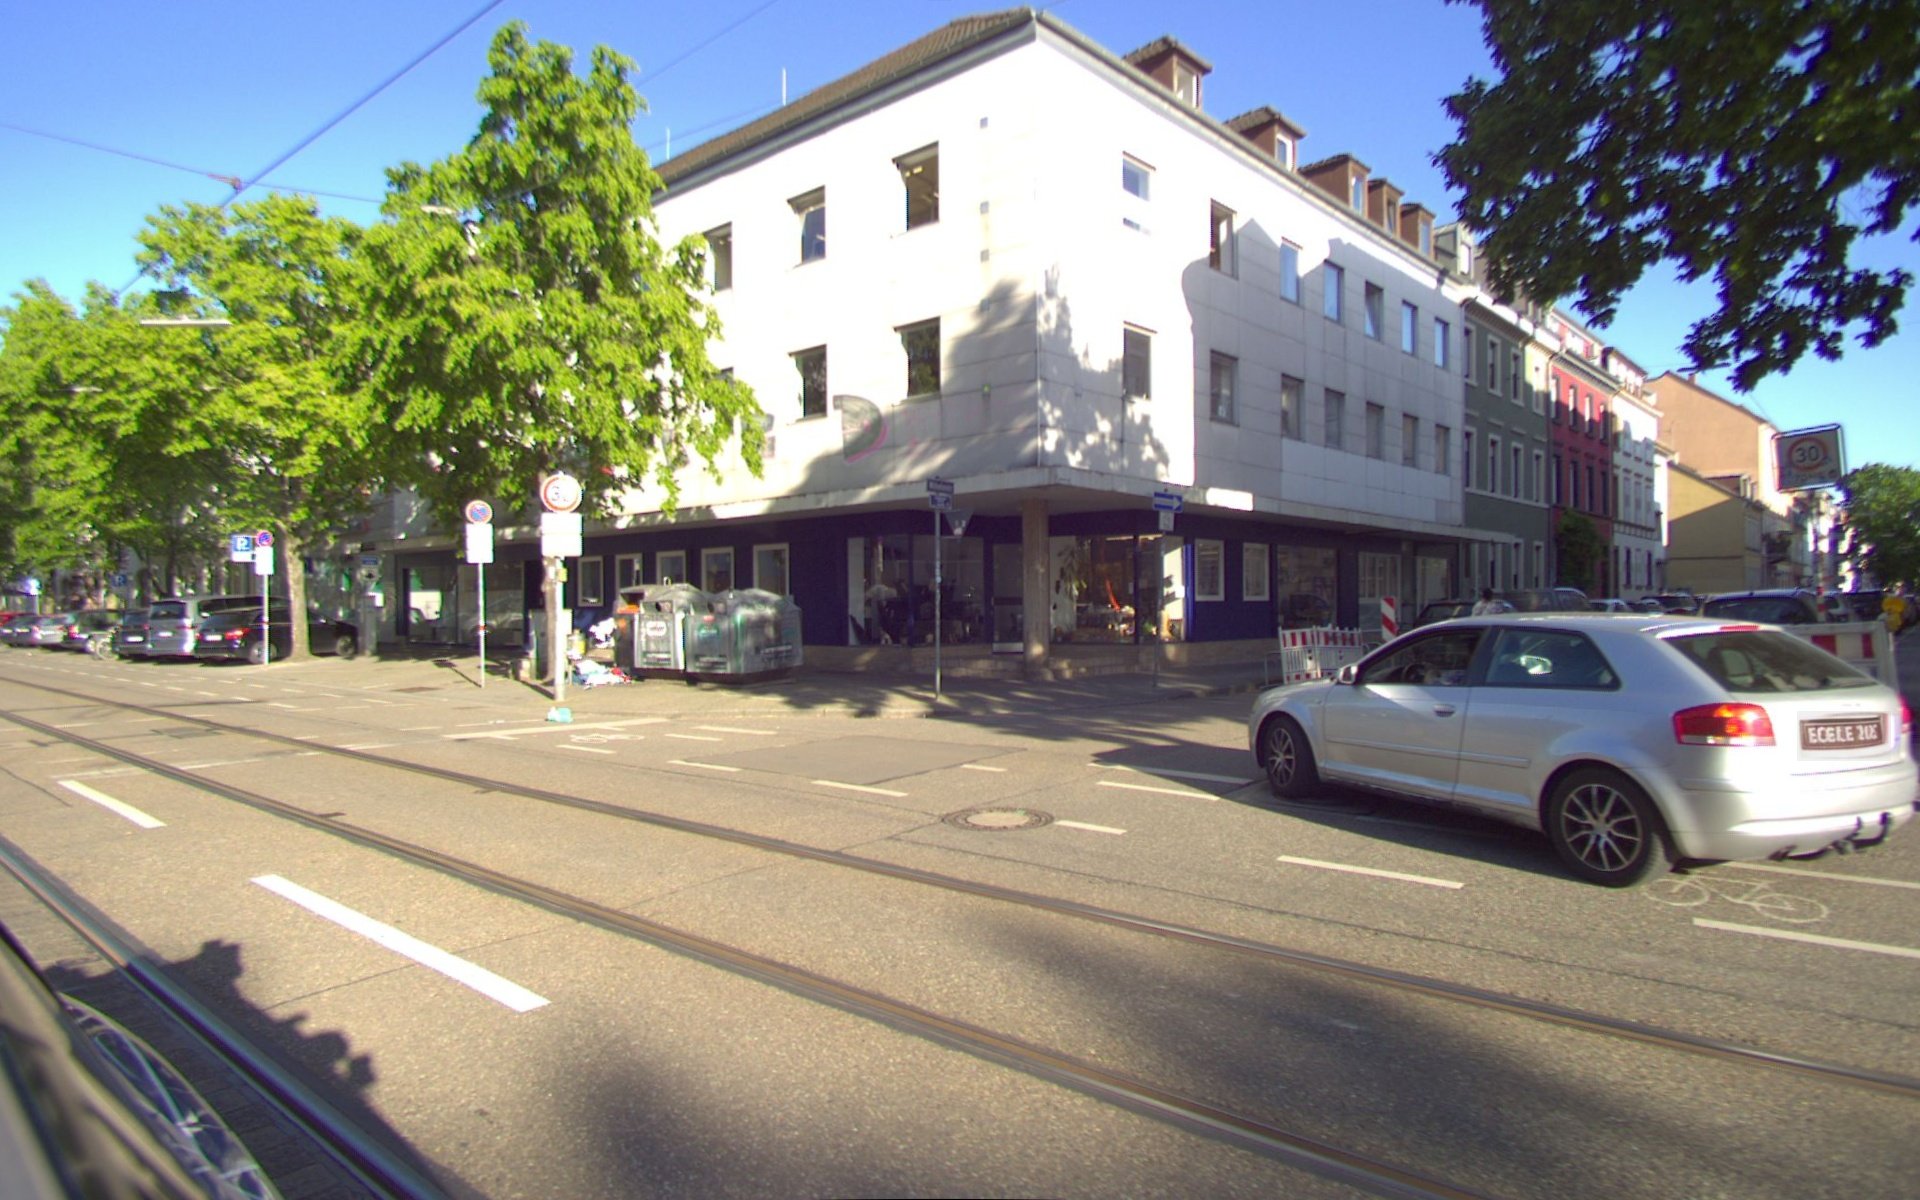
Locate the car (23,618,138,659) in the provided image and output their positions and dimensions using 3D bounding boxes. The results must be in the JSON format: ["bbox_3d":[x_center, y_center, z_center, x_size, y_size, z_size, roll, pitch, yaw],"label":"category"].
[{"bbox_3d":[-36.929,1.571,42.581,1.595,1.504,3.363,-2,1,10],"label":"car"}]

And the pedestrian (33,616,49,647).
[{"bbox_3d":[-55.150,1.870,60.719,0.624,1.852,0.637,-2,-2,40],"label":"pedestrian"}]

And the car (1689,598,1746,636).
[{"bbox_3d":[32.900,0.728,43.939,1.549,1.571,3.561,-1,-1,43],"label":"car"}]

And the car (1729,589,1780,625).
[{"bbox_3d":[40.753,0.384,51.886,1.738,1.763,3.944,-1,-1,42],"label":"car"}]

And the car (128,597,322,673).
[{"bbox_3d":[-21.585,0.977,29.941,1.932,2.001,4.345,-1,1,17],"label":"car"}]

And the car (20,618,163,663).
[{"bbox_3d":[-34.772,1.588,40.672,1.822,1.524,4.102,-2,0,12],"label":"car"}]

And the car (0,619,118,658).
[{"bbox_3d":[-39.355,1.671,44.259,1.734,1.481,3.673,-1,1,10],"label":"car"}]

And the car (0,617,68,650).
[{"bbox_3d":[-48.606,1.729,52.159,1.651,1.565,3.611,-3,0,12],"label":"car"}]

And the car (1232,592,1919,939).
[{"bbox_3d":[3.721,0.734,6.494,1.685,1.447,4.184,0,-1,-20],"label":"car"}]

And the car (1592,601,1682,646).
[{"bbox_3d":[22.830,0.777,34.065,3.941,1.431,1.753,0,-1,-45],"label":"car"}]

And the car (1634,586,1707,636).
[{"bbox_3d":[26.603,0.408,37.844,1.738,1.763,3.944,-1,-1,42],"label":"car"}]

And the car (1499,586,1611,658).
[{"bbox_3d":[15.873,0.559,26.914,1.608,1.785,3.941,-2,-1,45],"label":"car"}]

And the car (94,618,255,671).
[{"bbox_3d":[-25.863,1.438,33.479,1.827,1.487,3.848,-1,1,16],"label":"car"}]

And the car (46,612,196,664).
[{"bbox_3d":[-32.002,1.421,38.710,1.837,1.690,4.068,-1,1,36],"label":"car"}]

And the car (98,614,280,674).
[{"bbox_3d":[-23.581,1.287,31.170,1.796,1.698,4.224,-1,-1,18],"label":"car"}]

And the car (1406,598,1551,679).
[{"bbox_3d":[11.911,0.821,23.163,3.940,1.596,1.718,-2,0,-44],"label":"car"}]

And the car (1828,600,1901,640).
[{"bbox_3d":[32.331,0.686,36.143,1.739,1.364,3.941,-2,-1,45],"label":"car"}]

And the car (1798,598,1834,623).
[{"bbox_3d":[60.790,0.747,71.825,1.738,1.763,3.943,-1,-1,43],"label":"car"}]

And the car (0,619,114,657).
[{"bbox_3d":[-41.309,1.713,45.954,1.923,1.502,4.188,-2,0,11],"label":"car"}]

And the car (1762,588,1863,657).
[{"bbox_3d":[22.084,0.569,26.167,1.802,1.629,3.943,-2,-2,43],"label":"car"}]

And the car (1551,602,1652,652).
[{"bbox_3d":[19.512,0.782,30.724,3.941,1.431,1.753,0,-1,-45],"label":"car"}]

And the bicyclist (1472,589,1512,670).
[{"bbox_3d":[9.319,0.507,17.717,0.459,1.388,0.631,-2,-2,43],"label":"bicyclist"}]

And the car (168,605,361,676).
[{"bbox_3d":[-19.365,1.087,28.439,1.893,1.679,4.277,-1,1,14],"label":"car"}]

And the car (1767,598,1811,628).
[{"bbox_3d":[50.175,0.765,61.229,1.738,1.763,3.943,-1,-1,43],"label":"car"}]

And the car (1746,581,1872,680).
[{"bbox_3d":[14.991,0.509,17.811,1.475,1.560,3.717,-1,-1,43],"label":"car"}]

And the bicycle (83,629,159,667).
[{"bbox_3d":[-27.985,1.580,33.780,0.489,1.153,1.959,-1,1,20],"label":"bicycle"}]

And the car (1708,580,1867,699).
[{"bbox_3d":[11.519,0.503,14.028,1.475,1.454,3.203,-1,-1,43],"label":"car"}]

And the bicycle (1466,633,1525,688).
[{"bbox_3d":[9.372,1.030,17.683,0.450,0.888,1.874,-2,-2,42],"label":"bicycle"}]
